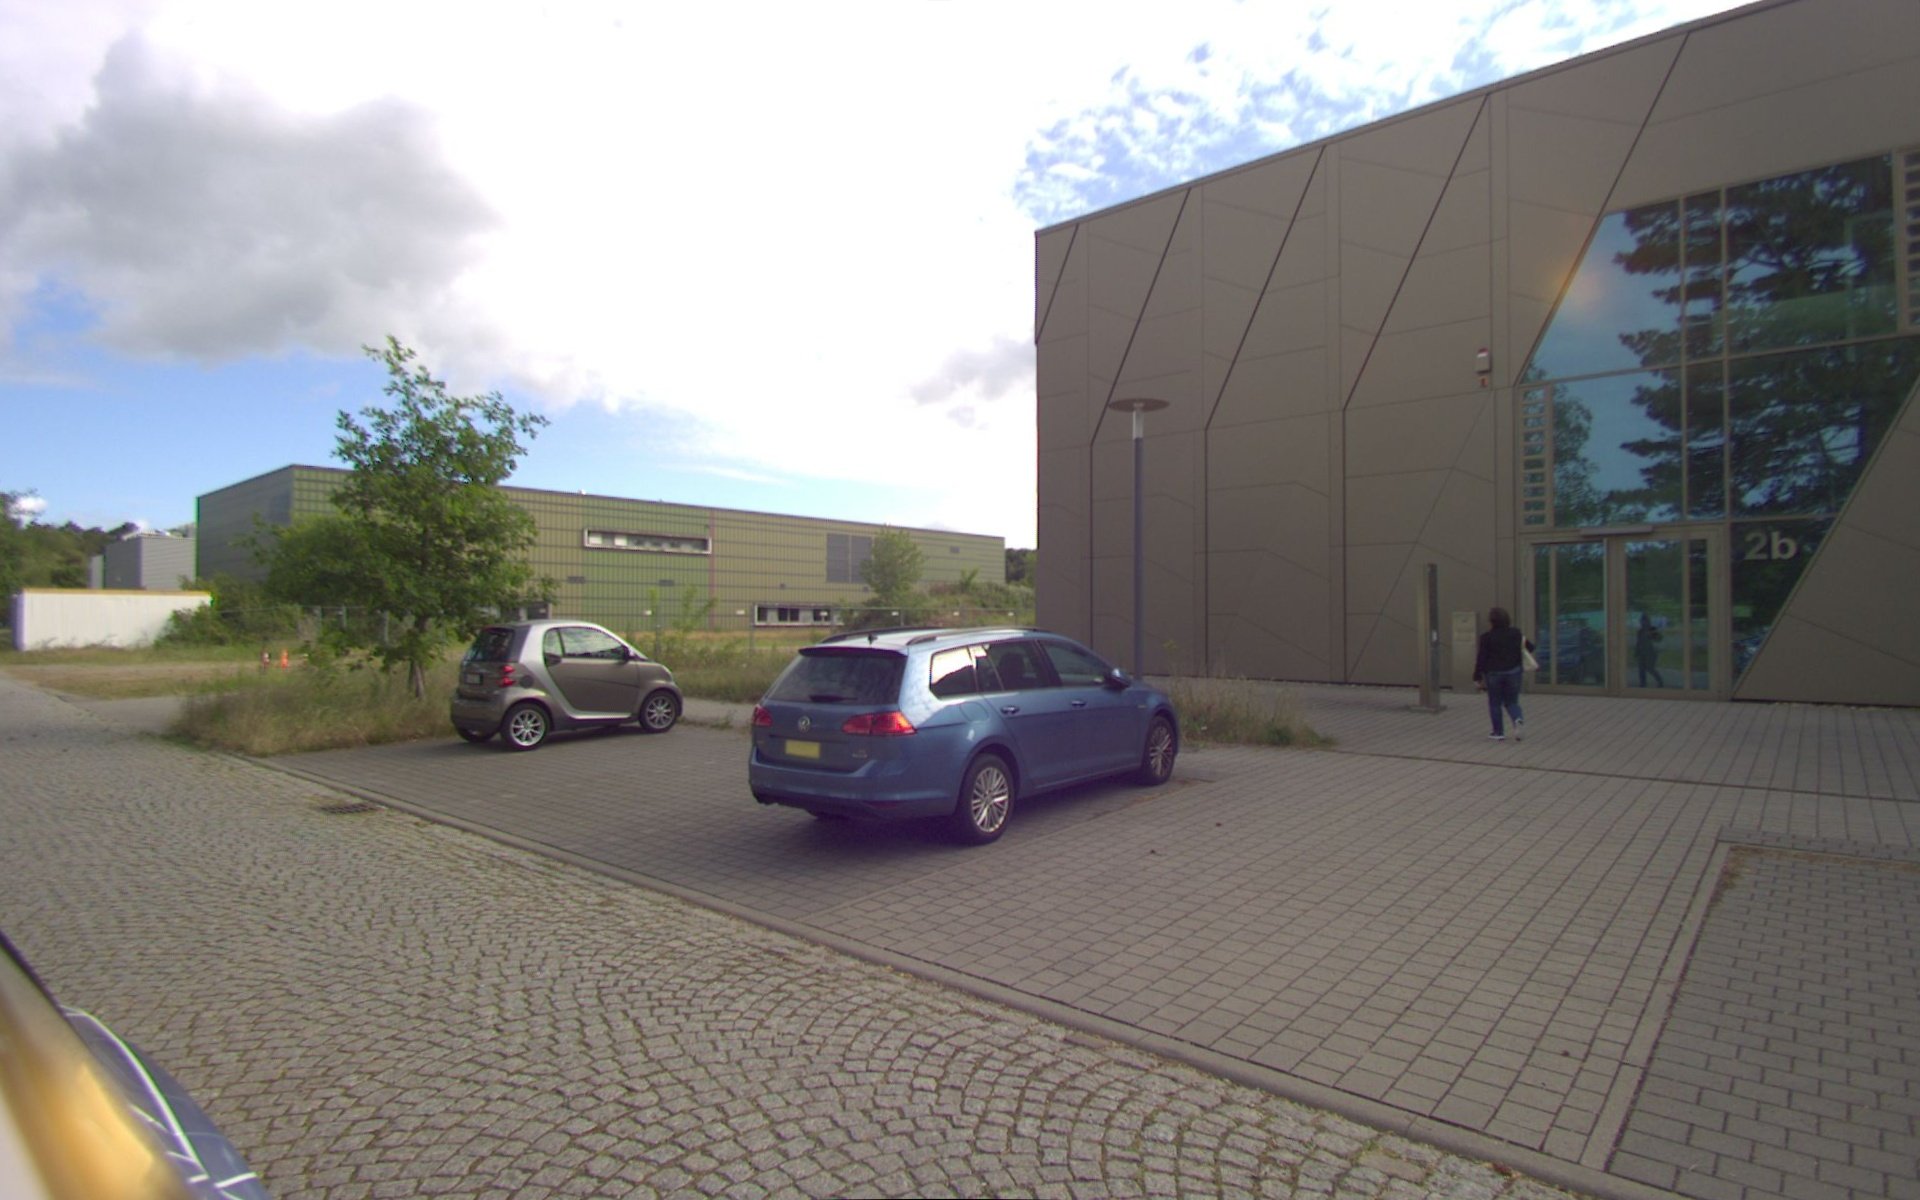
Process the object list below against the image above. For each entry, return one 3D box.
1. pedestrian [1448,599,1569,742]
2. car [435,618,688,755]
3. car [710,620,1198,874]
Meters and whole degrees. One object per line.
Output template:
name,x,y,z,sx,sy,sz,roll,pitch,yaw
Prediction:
pedestrian,6.030,0.752,11.183,0.808,1.506,0.985,-1,0,4
car,-5.158,1.036,13.250,1.609,1.523,2.627,-2,-1,40
car,0.225,0.937,8.345,1.771,1.439,4.264,-2,-1,38
